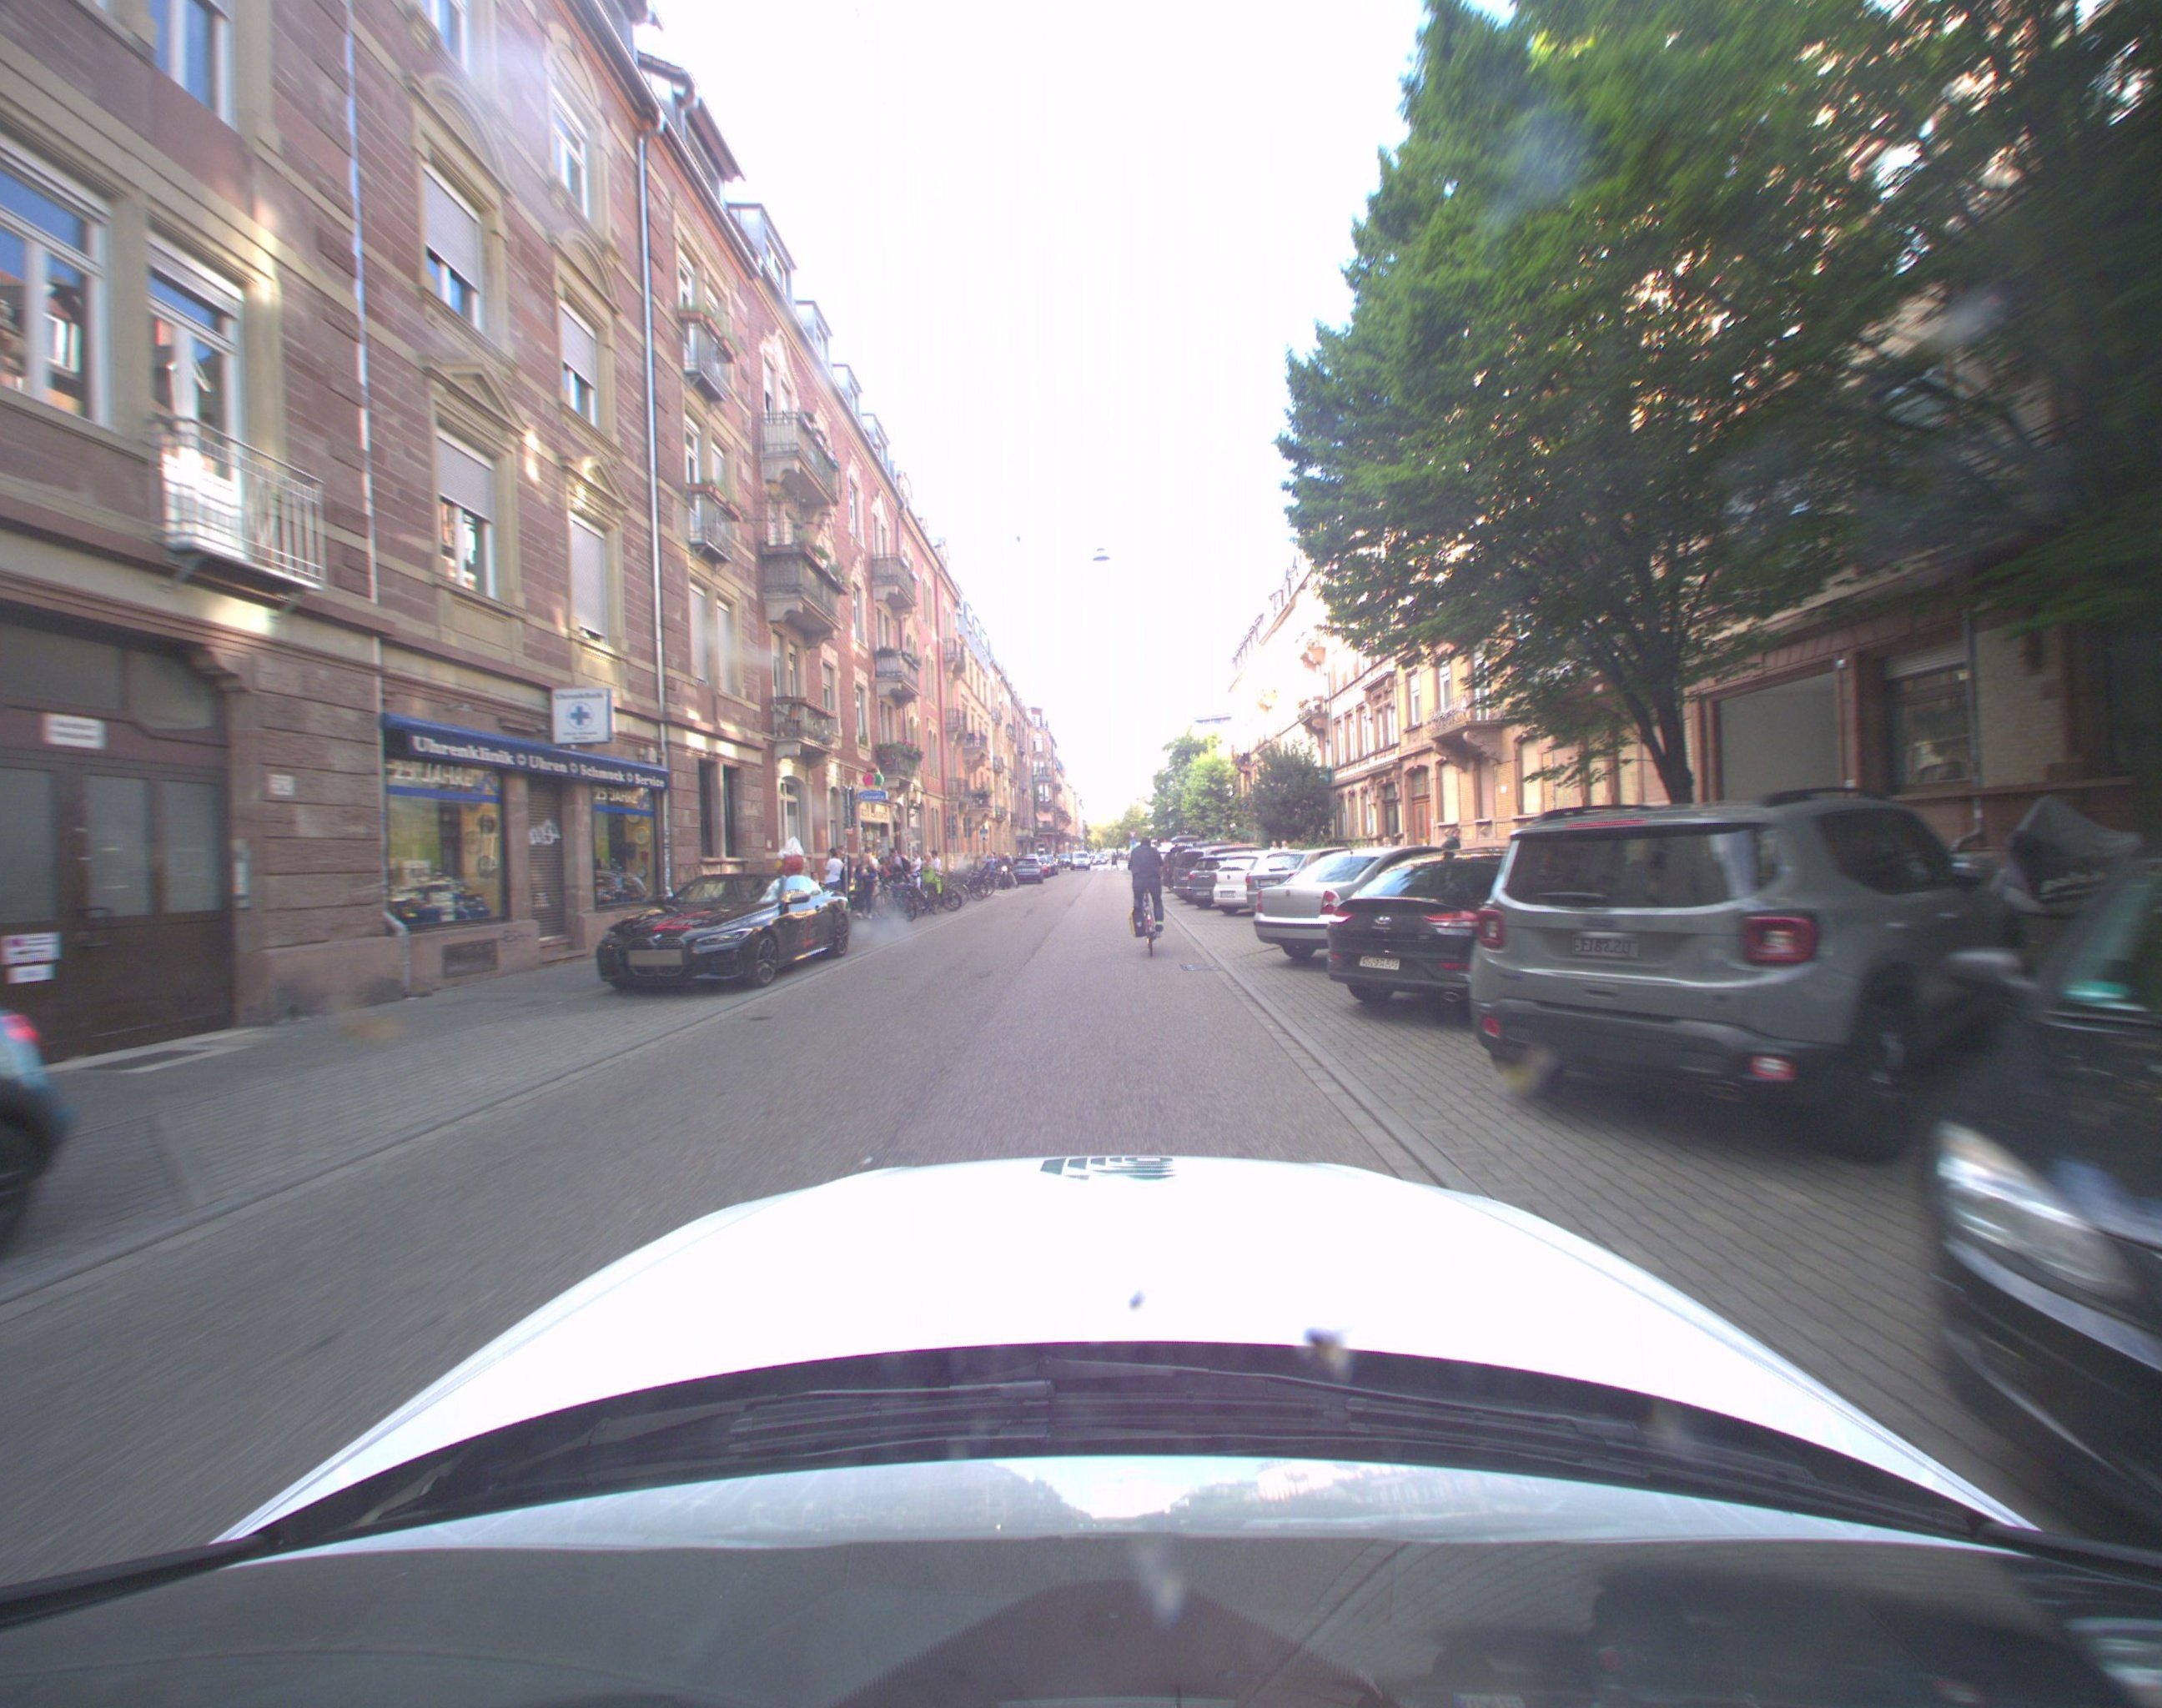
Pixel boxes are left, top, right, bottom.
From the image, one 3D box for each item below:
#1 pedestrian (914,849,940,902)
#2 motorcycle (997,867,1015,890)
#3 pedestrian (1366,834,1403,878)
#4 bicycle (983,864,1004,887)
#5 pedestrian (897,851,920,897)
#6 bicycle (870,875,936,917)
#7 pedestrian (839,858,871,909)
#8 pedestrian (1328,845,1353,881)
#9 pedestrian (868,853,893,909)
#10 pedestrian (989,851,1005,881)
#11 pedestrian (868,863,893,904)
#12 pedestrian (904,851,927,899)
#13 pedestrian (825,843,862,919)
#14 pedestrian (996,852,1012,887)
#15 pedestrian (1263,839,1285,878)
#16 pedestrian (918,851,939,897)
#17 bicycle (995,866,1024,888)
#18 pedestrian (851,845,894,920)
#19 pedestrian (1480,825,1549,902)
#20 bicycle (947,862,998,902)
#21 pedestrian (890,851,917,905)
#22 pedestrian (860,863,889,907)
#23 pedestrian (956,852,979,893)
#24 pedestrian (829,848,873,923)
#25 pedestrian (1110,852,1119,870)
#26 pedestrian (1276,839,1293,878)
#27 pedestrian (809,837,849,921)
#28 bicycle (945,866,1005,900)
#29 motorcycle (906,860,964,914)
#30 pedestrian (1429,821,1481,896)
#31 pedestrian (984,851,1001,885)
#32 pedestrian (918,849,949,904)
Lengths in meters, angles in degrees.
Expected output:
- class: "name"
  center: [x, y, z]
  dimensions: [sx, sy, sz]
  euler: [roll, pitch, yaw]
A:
- class: "pedestrian"
  center: [-5.194, 0.731, 27.475]
  dimensions: [0.600, 1.751, 0.728]
  euler: [-1, 0, 12]
- class: "motorcycle"
  center: [-3.457, 1.101, 37.839]
  dimensions: [0.792, 0.995, 2.495]
  euler: [-1, 0, -4]
- class: "pedestrian"
  center: [10.905, 0.058, 29.247]
  dimensions: [0.926, 1.497, 0.811]
  euler: [-3, 0, -5]
- class: "bicycle"
  center: [-4.278, 1.052, 39.928]
  dimensions: [0.490, 1.095, 1.910]
  euler: [0, 0, 11]
- class: "pedestrian"
  center: [-6.456, 0.728, 30.455]
  dimensions: [0.661, 1.696, 0.764]
  euler: [-1, 0, 2]
- class: "bicycle"
  center: [-4.508, 1.051, 20.549]
  dimensions: [1.667, 1.030, 0.411]
  euler: [-1, 0, 22]
- class: "pedestrian"
  center: [-6.594, 0.847, 23.764]
  dimensions: [0.600, 1.470, 0.728]
  euler: [-1, 0, 12]
- class: "pedestrian"
  center: [9.347, 0.320, 29.362]
  dimensions: [0.598, 1.219, 0.674]
  euler: [-5, 0, 2]
- class: "pedestrian"
  center: [-5.975, 0.797, 24.281]
  dimensions: [0.551, 1.616, 0.584]
  euler: [-1, 0, 2]
- class: "pedestrian"
  center: [-5.050, 0.719, 48.874]
  dimensions: [0.752, 1.808, 0.864]
  euler: [-1, 0, 5]
- class: "pedestrian"
  center: [-6.552, 0.946, 26.653]
  dimensions: [0.699, 1.313, 0.372]
  euler: [-1, 0, -2]
- class: "pedestrian"
  center: [-6.048, 0.757, 29.704]
  dimensions: [0.667, 1.696, 0.580]
  euler: [-1, 0, -29]
- class: "pedestrian"
  center: [-6.007, 0.675, 20.617]
  dimensions: [0.640, 1.892, 0.605]
  euler: [-1, 0, 32]
- class: "pedestrian"
  center: [-3.891, 0.768, 41.001]
  dimensions: [0.568, 1.709, 0.661]
  euler: [-1, 0, -33]
- class: "pedestrian"
  center: [8.619, 0.205, 36.430]
  dimensions: [0.652, 1.695, 0.691]
  euler: [-1, 0, -42]
- class: "pedestrian"
  center: [-5.666, 0.728, 30.212]
  dimensions: [0.567, 1.696, 0.641]
  euler: [-1, 0, -29]
- class: "bicycle"
  center: [-3.511, 1.105, 40.228]
  dimensions: [0.477, 1.059, 1.915]
  euler: [0, -1, 26]
- class: "pedestrian"
  center: [-5.187, 0.699, 20.259]
  dimensions: [0.753, 1.818, 0.670]
  euler: [-1, 0, 32]
- class: "pedestrian"
  center: [8.903, 0.190, 16.737]
  dimensions: [0.723, 1.502, 0.993]
  euler: [-2, 1, -36]
- class: "bicycle"
  center: [-3.715, 0.939, 27.981]
  dimensions: [1.684, 1.322, 0.522]
  euler: [-1, 0, -34]
- class: "pedestrian"
  center: [-6.210, 0.831, 28.489]
  dimensions: [0.765, 1.854, 0.659]
  euler: [-1, 0, -29]
- class: "pedestrian"
  center: [-6.337, 0.934, 25.038]
  dimensions: [0.721, 1.313, 0.606]
  euler: [-1, 0, -2]
- class: "pedestrian"
  center: [-4.781, 0.774, 34.331]
  dimensions: [0.910, 1.661, 0.826]
  euler: [-1, 0, -6]
- class: "pedestrian"
  center: [-5.539, 0.748, 19.644]
  dimensions: [0.753, 1.759, 0.670]
  euler: [-1, 0, 32]
- class: "pedestrian"
  center: [3.323, 0.676, 80.611]
  dimensions: [0.624, 1.739, 0.779]
  euler: [-2, 0, 14]
- class: "pedestrian"
  center: [8.957, 0.201, 35.840]
  dimensions: [0.571, 1.659, 0.633]
  euler: [-1, 0, 2]
- class: "pedestrian"
  center: [-6.180, 0.611, 19.951]
  dimensions: [0.637, 2.013, 0.634]
  euler: [-2, 0, 30]
- class: "bicycle"
  center: [-3.902, 1.065, 30.143]
  dimensions: [0.798, 1.159, 2.284]
  euler: [-1, 0, 39]
- class: "motorcycle"
  center: [-3.967, 0.883, 22.354]
  dimensions: [0.701, 1.384, 2.032]
  euler: [-1, 0, 16]
- class: "pedestrian"
  center: [8.619, 0.106, 18.800]
  dimensions: [0.729, 1.634, 0.833]
  euler: [-3, -1, -1]
- class: "pedestrian"
  center: [-4.476, 0.702, 41.146]
  dimensions: [0.683, 1.661, 0.546]
  euler: [-1, 0, -28]
- class: "pedestrian"
  center: [-4.804, 0.723, 26.554]
  dimensions: [0.600, 1.751, 0.949]
  euler: [-1, 0, 14]
